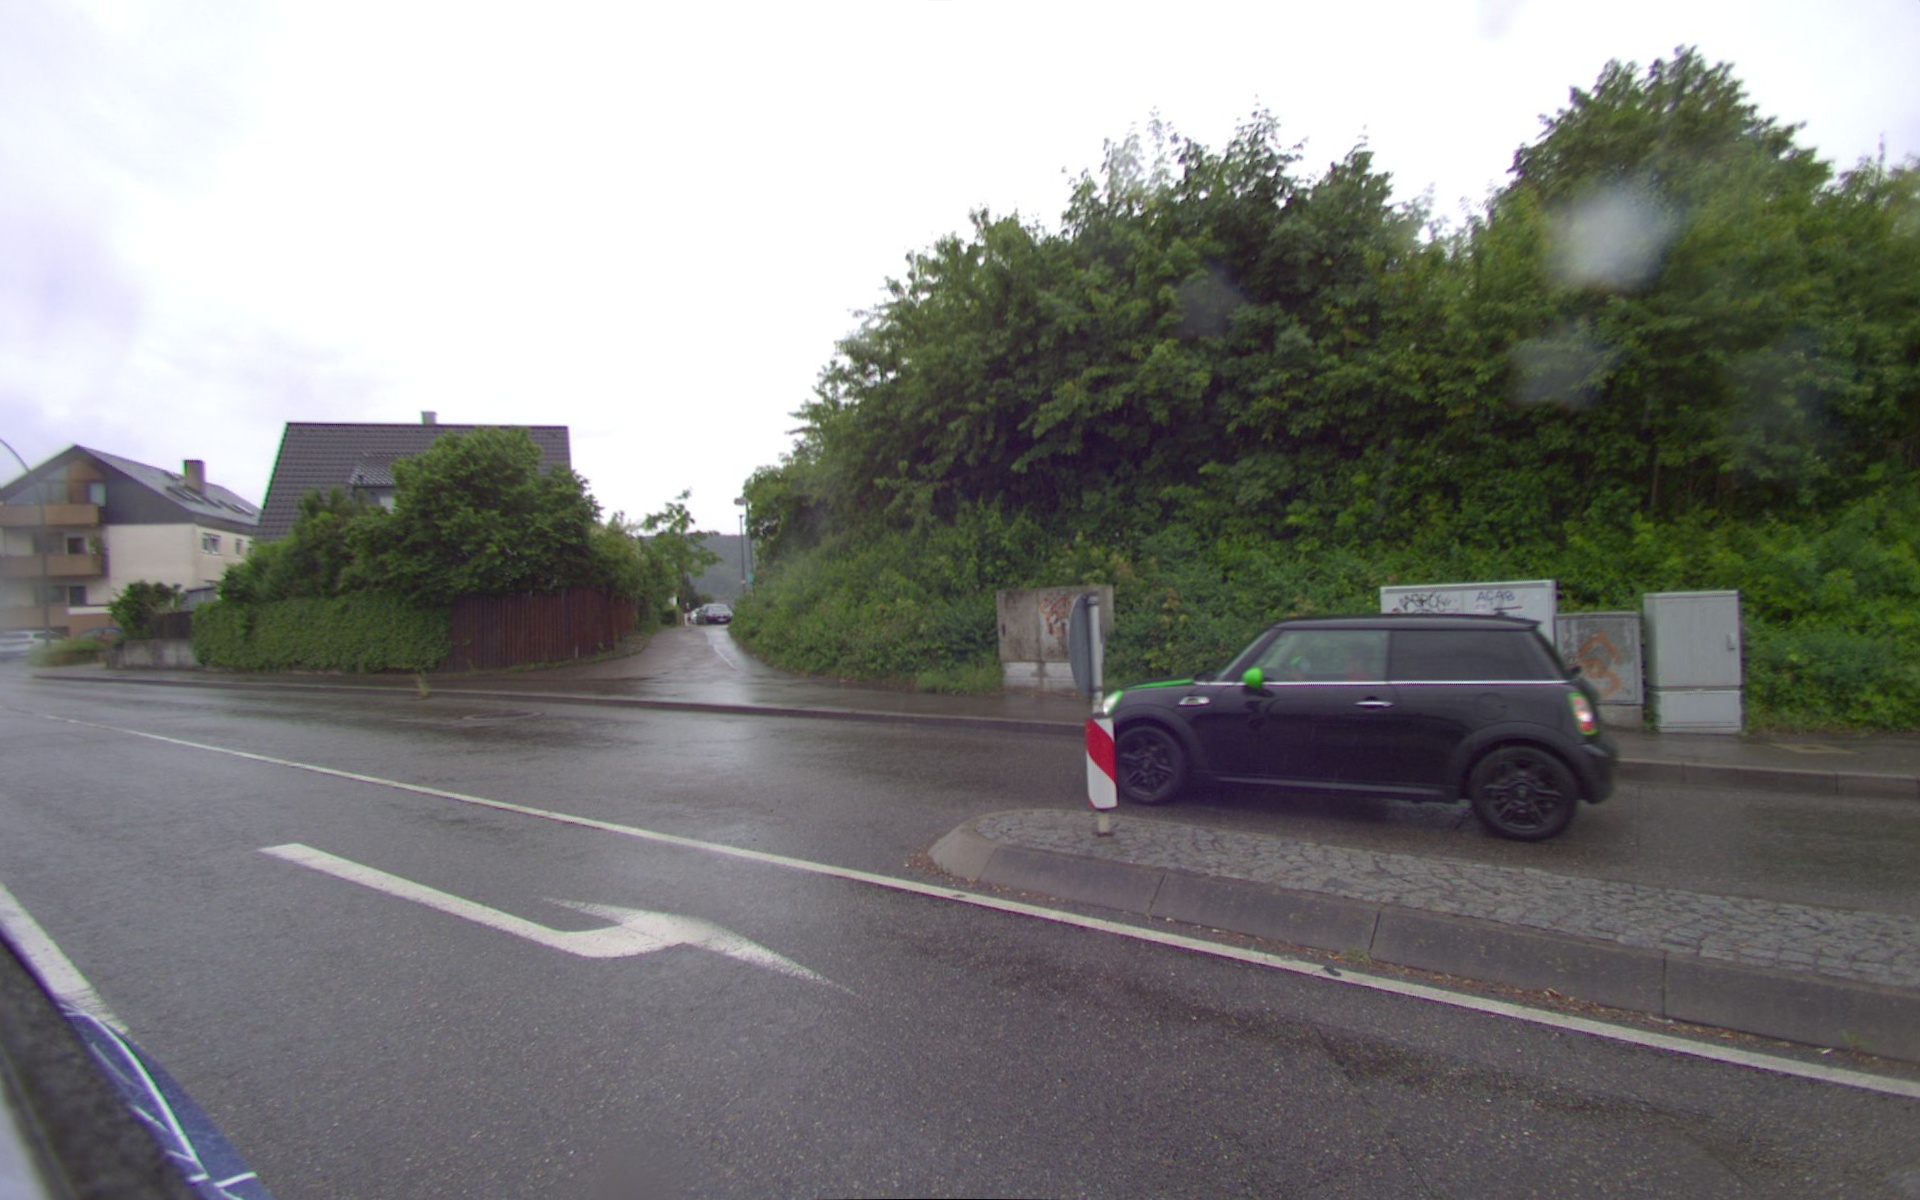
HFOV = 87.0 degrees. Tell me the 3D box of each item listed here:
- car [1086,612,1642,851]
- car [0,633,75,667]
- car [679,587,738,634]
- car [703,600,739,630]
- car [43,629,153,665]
[{"bbox_3d":[2.845,0.799,7.477,3.445,1.397,1.665,-1,-1,29],"label":"car"},{"bbox_3d":[-46.769,2.506,50.945,1.837,1.530,4.012,-2,0,-18],"label":"car"},{"bbox_3d":[-9.163,0.367,37.048,1.683,1.600,3.668,-1,0,-8],"label":"car"},{"bbox_3d":[-15.577,0.950,66.169,1.968,1.873,4.008,-2,0,-9],"label":"car"},{"bbox_3d":[-41.246,2.222,48.505,3.609,1.530,1.759,-2,0,-15],"label":"car"}]
